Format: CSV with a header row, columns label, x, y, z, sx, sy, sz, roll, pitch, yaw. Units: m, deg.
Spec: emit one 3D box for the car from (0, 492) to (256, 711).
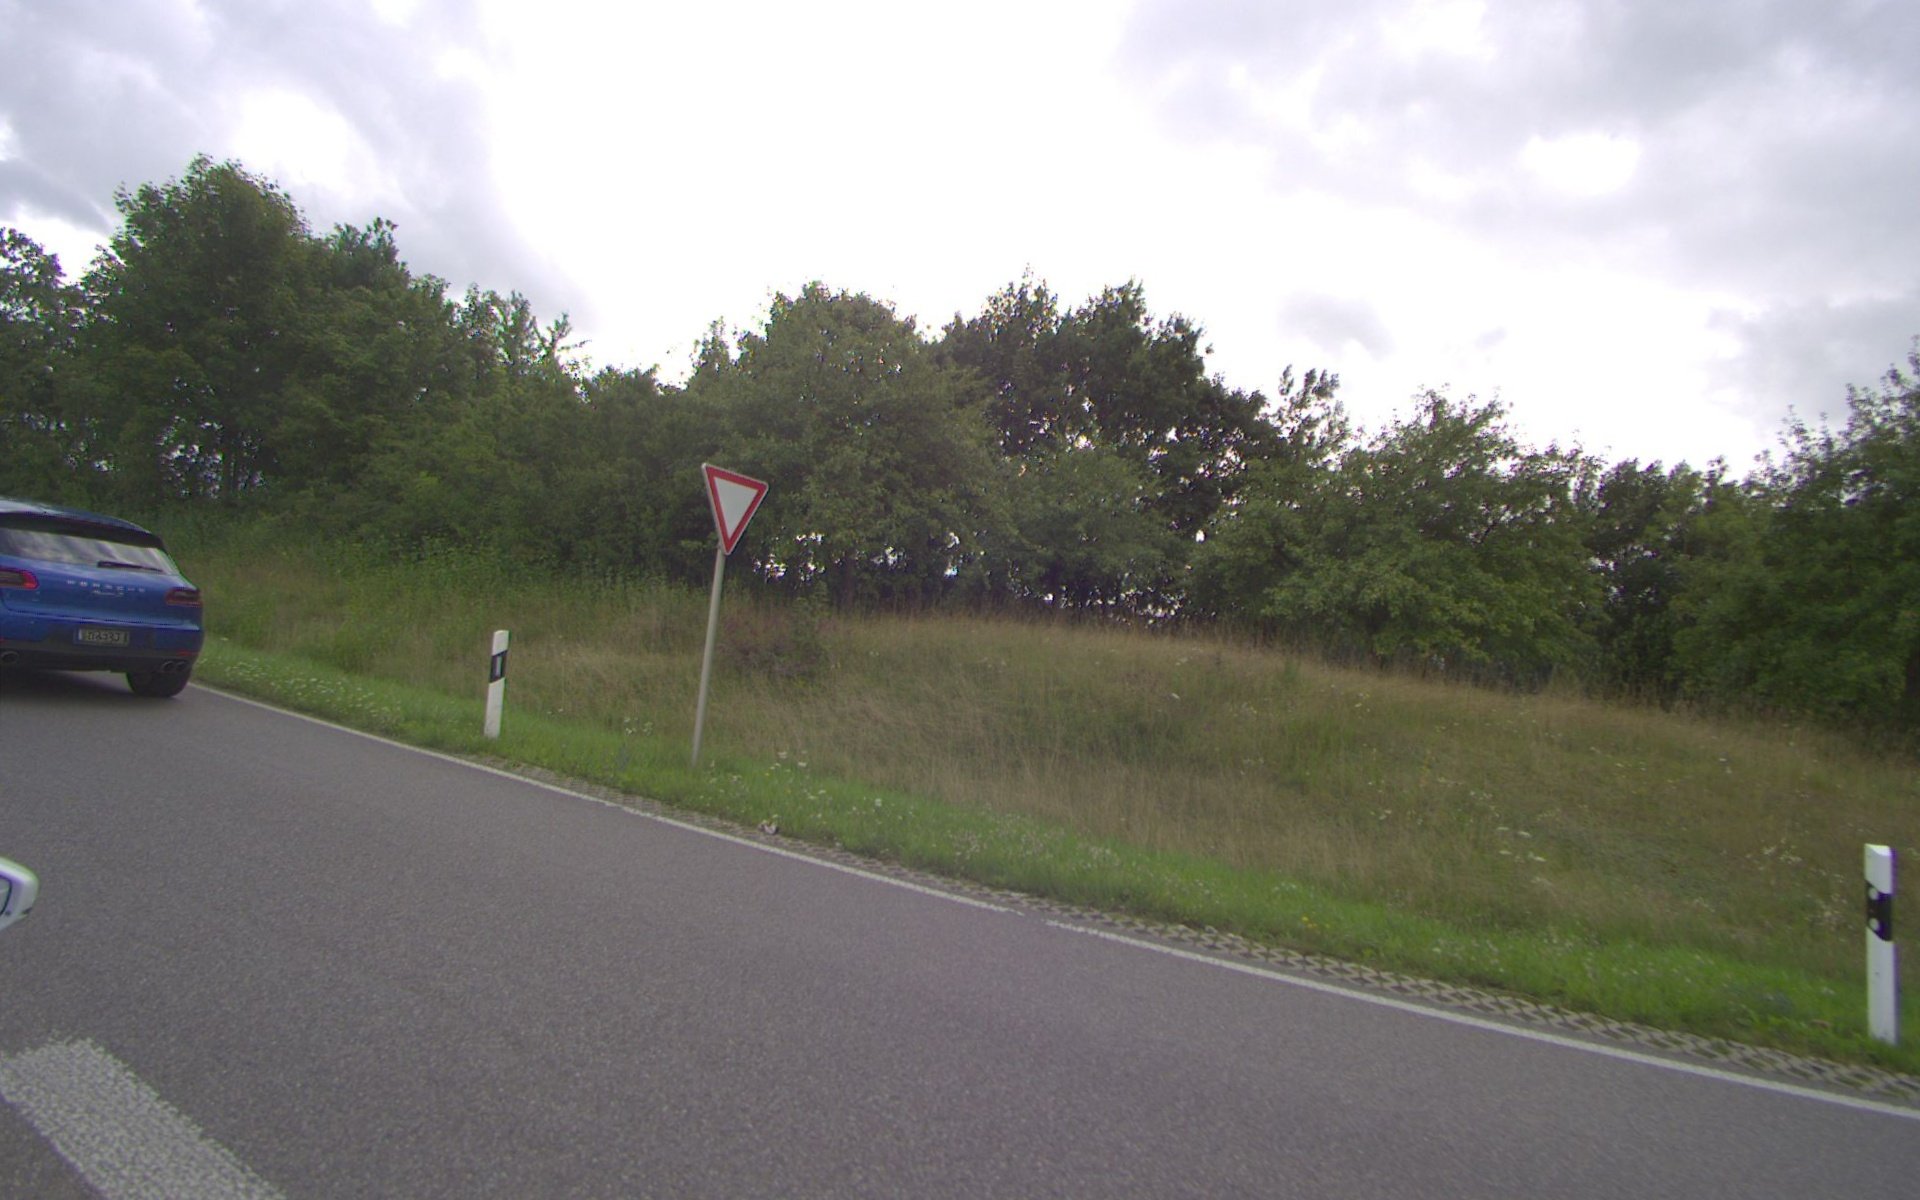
label,x,y,z,sx,sy,sz,roll,pitch,yaw
car,-8.971,-0.151,9.322,4.675,1.587,2.001,6,-4,29
